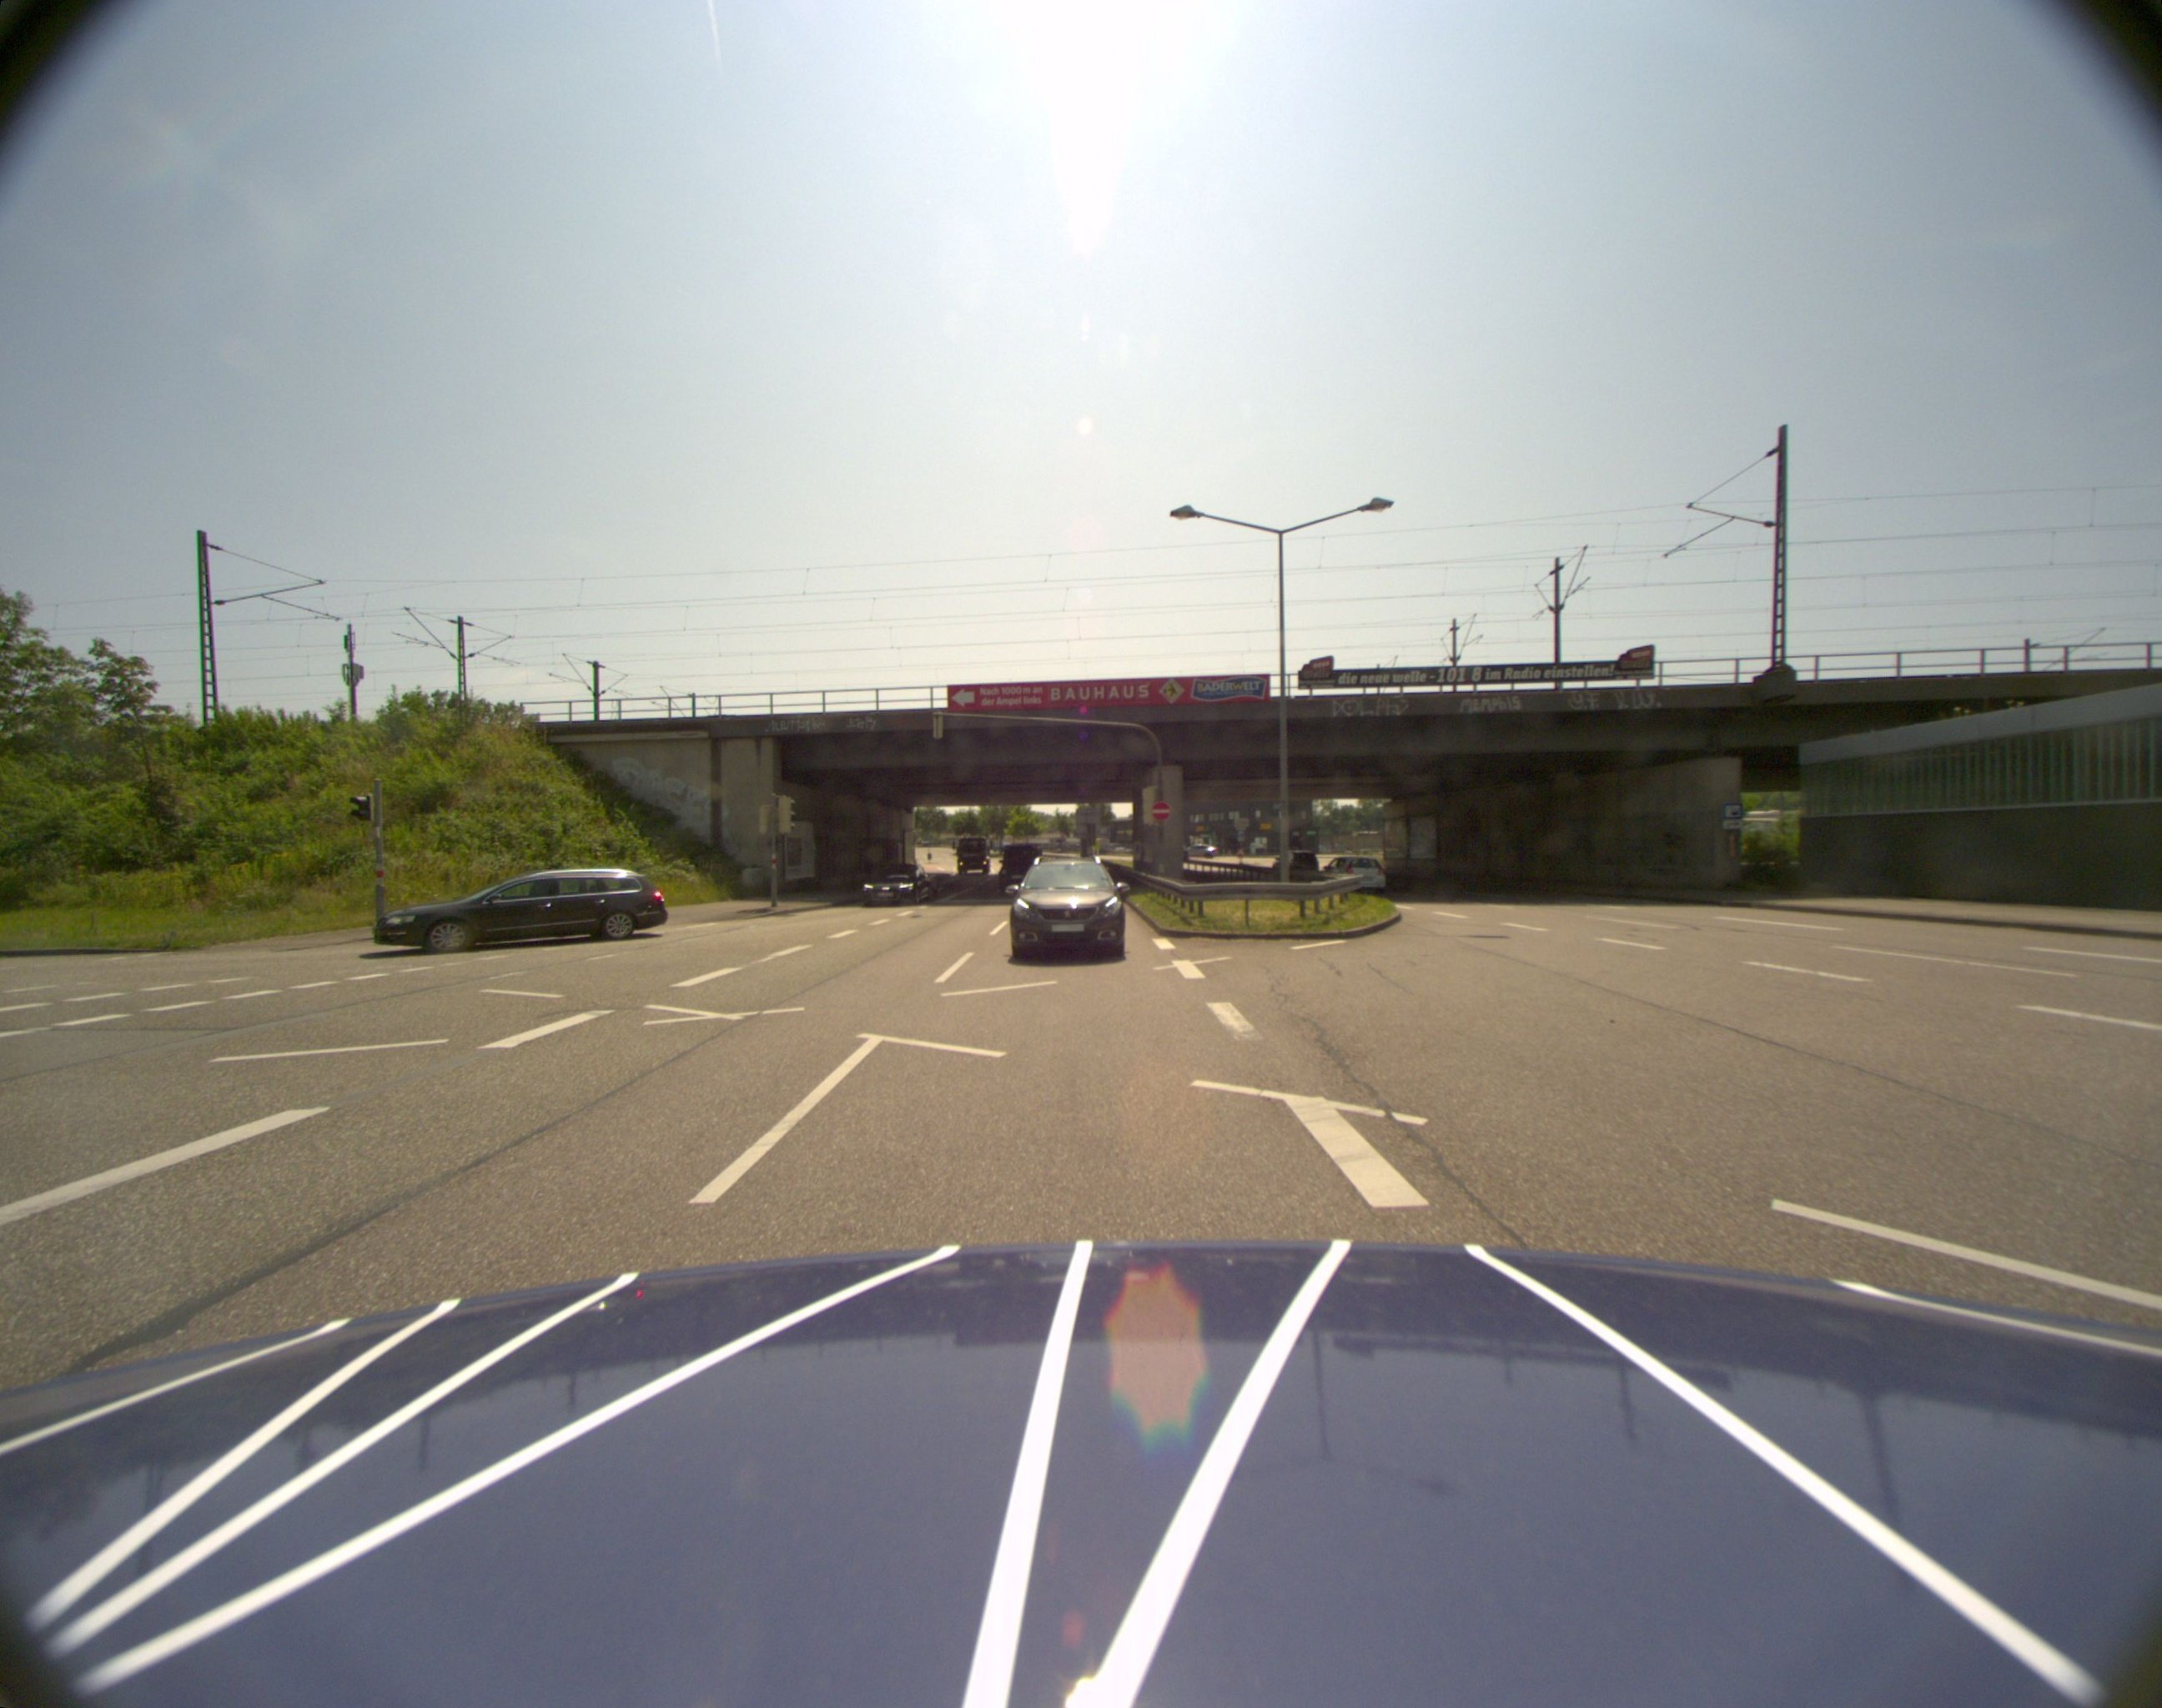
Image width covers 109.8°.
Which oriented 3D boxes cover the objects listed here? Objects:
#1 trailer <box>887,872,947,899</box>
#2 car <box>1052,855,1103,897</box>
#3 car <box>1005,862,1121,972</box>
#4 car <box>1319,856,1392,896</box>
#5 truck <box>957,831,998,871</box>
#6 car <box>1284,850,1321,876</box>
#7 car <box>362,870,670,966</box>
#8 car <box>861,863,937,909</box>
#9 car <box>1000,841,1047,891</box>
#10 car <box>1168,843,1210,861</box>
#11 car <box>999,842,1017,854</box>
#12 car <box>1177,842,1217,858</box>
[{"bbox_3d":[-6.479,1.231,30.426,1.681,0.936,3.833,-3,-1,-2],"label":"trailer"},{"bbox_3d":[-0.168,0.786,29.457,1.817,1.456,3.999,-1,0,-1],"label":"car"},{"bbox_3d":[-0.172,0.911,12.951,1.619,1.503,4.458,-1,0,2],"label":"car"},{"bbox_3d":[10.832,0.826,30.231,1.710,1.442,3.373,-1,0,1],"label":"car"},{"bbox_3d":[-8.253,-0.222,60.194,2.887,2.899,8.510,-2,0,-8],"label":"truck"},{"bbox_3d":[13.464,0.514,46.281,1.709,1.535,3.375,0,0,8],"label":"car"},{"bbox_3d":[-11.129,1.140,15.259,1.804,1.494,4.683,-1,1,43],"label":"car"},{"bbox_3d":[-6.293,1.061,26.644,1.809,1.382,3.902,-1,0,-2],"label":"car"},{"bbox_3d":[-2.601,0.507,35.353,1.841,2.141,4.557,-1,1,-1],"label":"car"},{"bbox_3d":[10.320,-0.172,72.860,3.995,1.674,2.001,-1,1,6],"label":"car"},{"bbox_3d":[-12.323,-0.985,128.671,2.002,2.002,3.992,-1,0,-22],"label":"car"},{"bbox_3d":[12.707,-0.419,83.112,3.992,1.674,2.002,-1,1,17],"label":"car"}]
